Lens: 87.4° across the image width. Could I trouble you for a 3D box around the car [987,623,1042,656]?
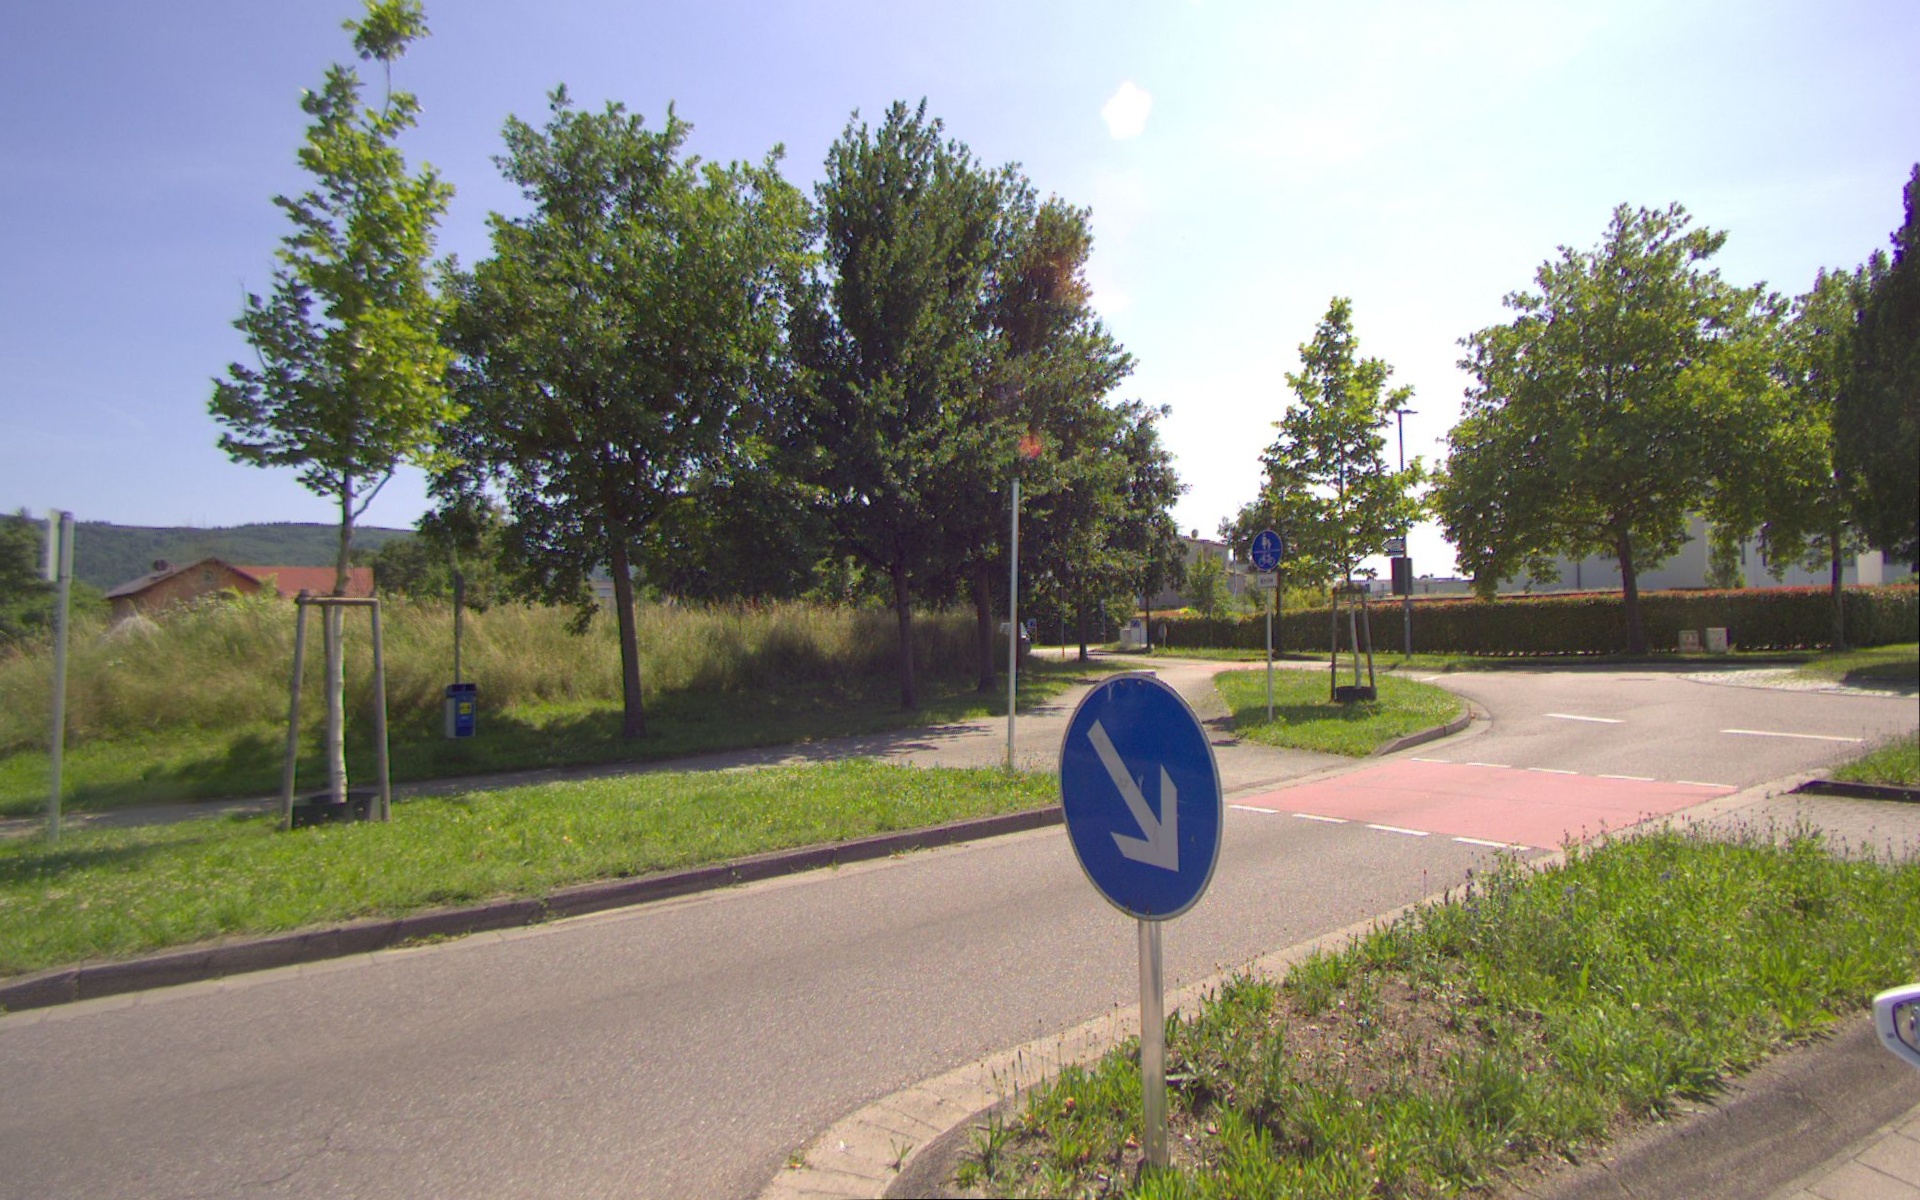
[{"bbox_3d":[2.803,2.071,52.973,1.833,1.589,4.479,-1,-1,-11],"label":"car"}]
